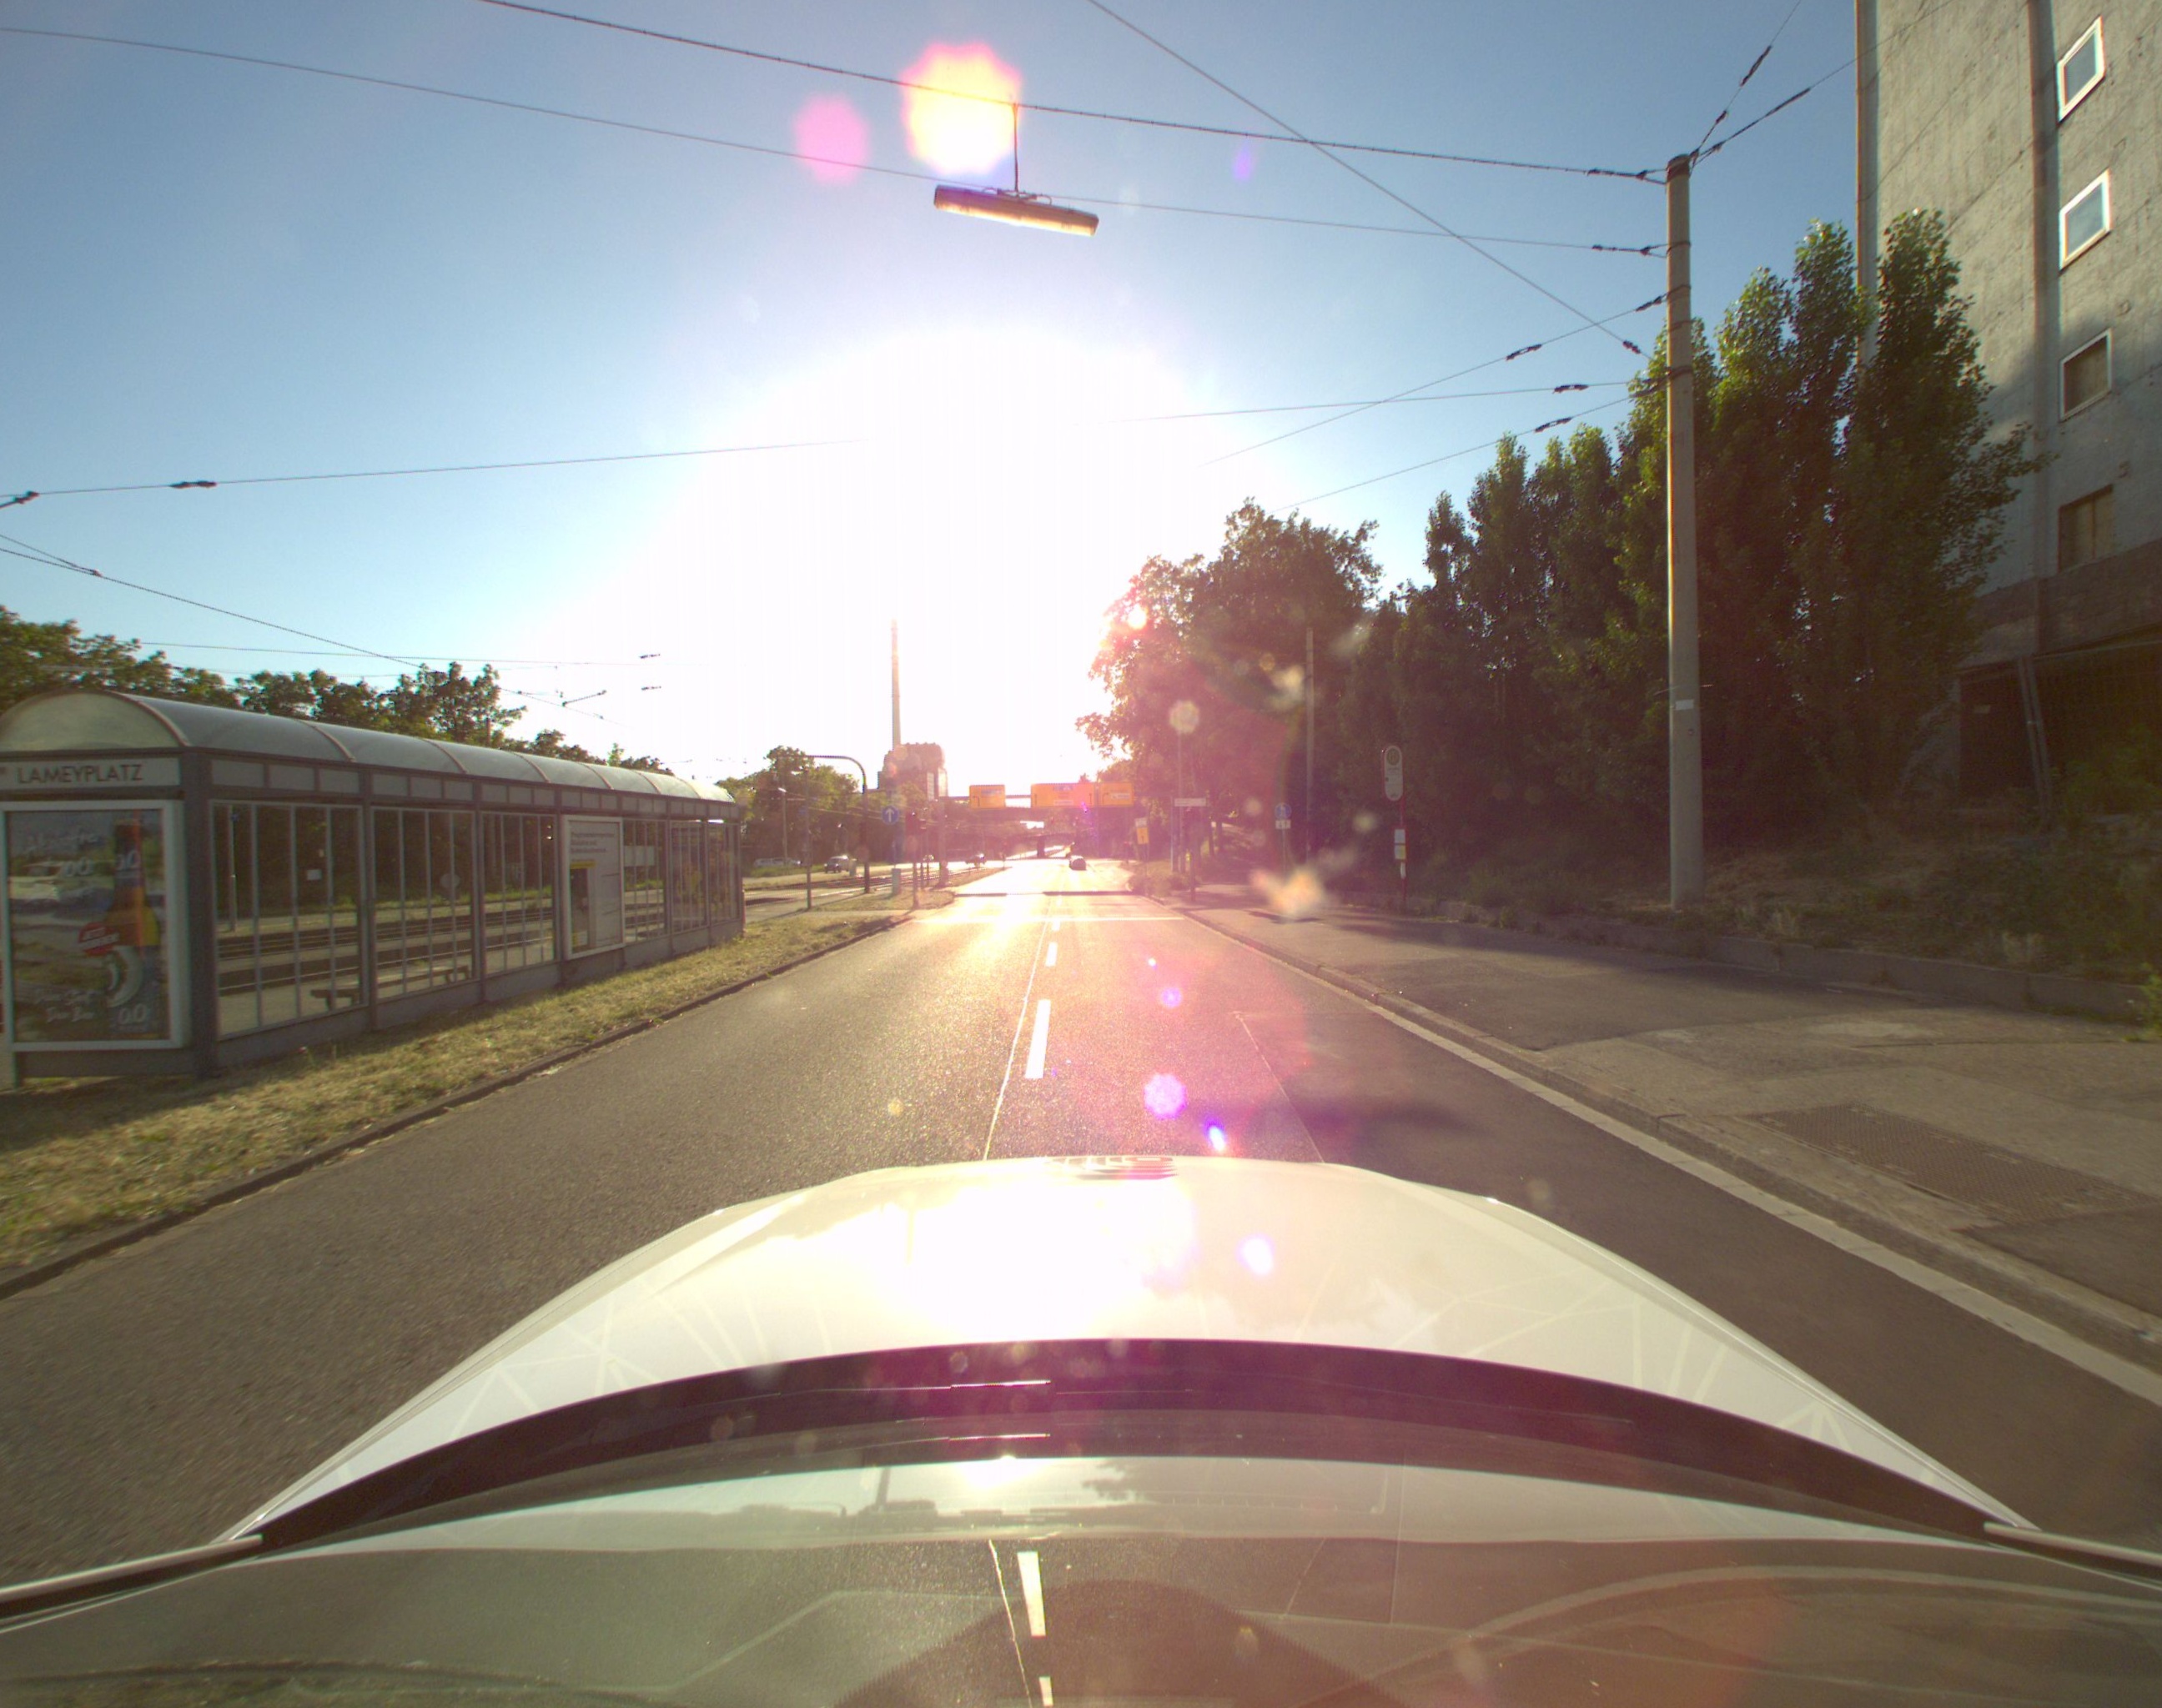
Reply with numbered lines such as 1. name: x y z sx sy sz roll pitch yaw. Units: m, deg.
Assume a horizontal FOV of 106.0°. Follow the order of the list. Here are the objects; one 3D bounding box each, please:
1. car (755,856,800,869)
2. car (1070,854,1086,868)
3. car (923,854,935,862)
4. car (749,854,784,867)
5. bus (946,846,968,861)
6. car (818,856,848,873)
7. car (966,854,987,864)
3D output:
1. car: -40.049 1.075 107.458 5.375 1.574 1.727 -1 0 -24
2. car: -0.403 0.810 93.875 1.732 1.505 3.997 -1 1 -2
3. car: -29.362 0.723 157.152 1.603 1.512 4.004 0 1 -2
4. car: -40.113 0.857 103.788 4.009 1.574 1.679 -1 0 -27
5. bus: -28.399 -0.026 187.291 2.534 3.130 12.923 -1 -1 2
6. car: -28.120 1.174 92.313 1.926 1.787 4.261 -1 1 2
7. car: -16.060 0.786 125.308 1.747 1.505 3.962 -2 1 -29
